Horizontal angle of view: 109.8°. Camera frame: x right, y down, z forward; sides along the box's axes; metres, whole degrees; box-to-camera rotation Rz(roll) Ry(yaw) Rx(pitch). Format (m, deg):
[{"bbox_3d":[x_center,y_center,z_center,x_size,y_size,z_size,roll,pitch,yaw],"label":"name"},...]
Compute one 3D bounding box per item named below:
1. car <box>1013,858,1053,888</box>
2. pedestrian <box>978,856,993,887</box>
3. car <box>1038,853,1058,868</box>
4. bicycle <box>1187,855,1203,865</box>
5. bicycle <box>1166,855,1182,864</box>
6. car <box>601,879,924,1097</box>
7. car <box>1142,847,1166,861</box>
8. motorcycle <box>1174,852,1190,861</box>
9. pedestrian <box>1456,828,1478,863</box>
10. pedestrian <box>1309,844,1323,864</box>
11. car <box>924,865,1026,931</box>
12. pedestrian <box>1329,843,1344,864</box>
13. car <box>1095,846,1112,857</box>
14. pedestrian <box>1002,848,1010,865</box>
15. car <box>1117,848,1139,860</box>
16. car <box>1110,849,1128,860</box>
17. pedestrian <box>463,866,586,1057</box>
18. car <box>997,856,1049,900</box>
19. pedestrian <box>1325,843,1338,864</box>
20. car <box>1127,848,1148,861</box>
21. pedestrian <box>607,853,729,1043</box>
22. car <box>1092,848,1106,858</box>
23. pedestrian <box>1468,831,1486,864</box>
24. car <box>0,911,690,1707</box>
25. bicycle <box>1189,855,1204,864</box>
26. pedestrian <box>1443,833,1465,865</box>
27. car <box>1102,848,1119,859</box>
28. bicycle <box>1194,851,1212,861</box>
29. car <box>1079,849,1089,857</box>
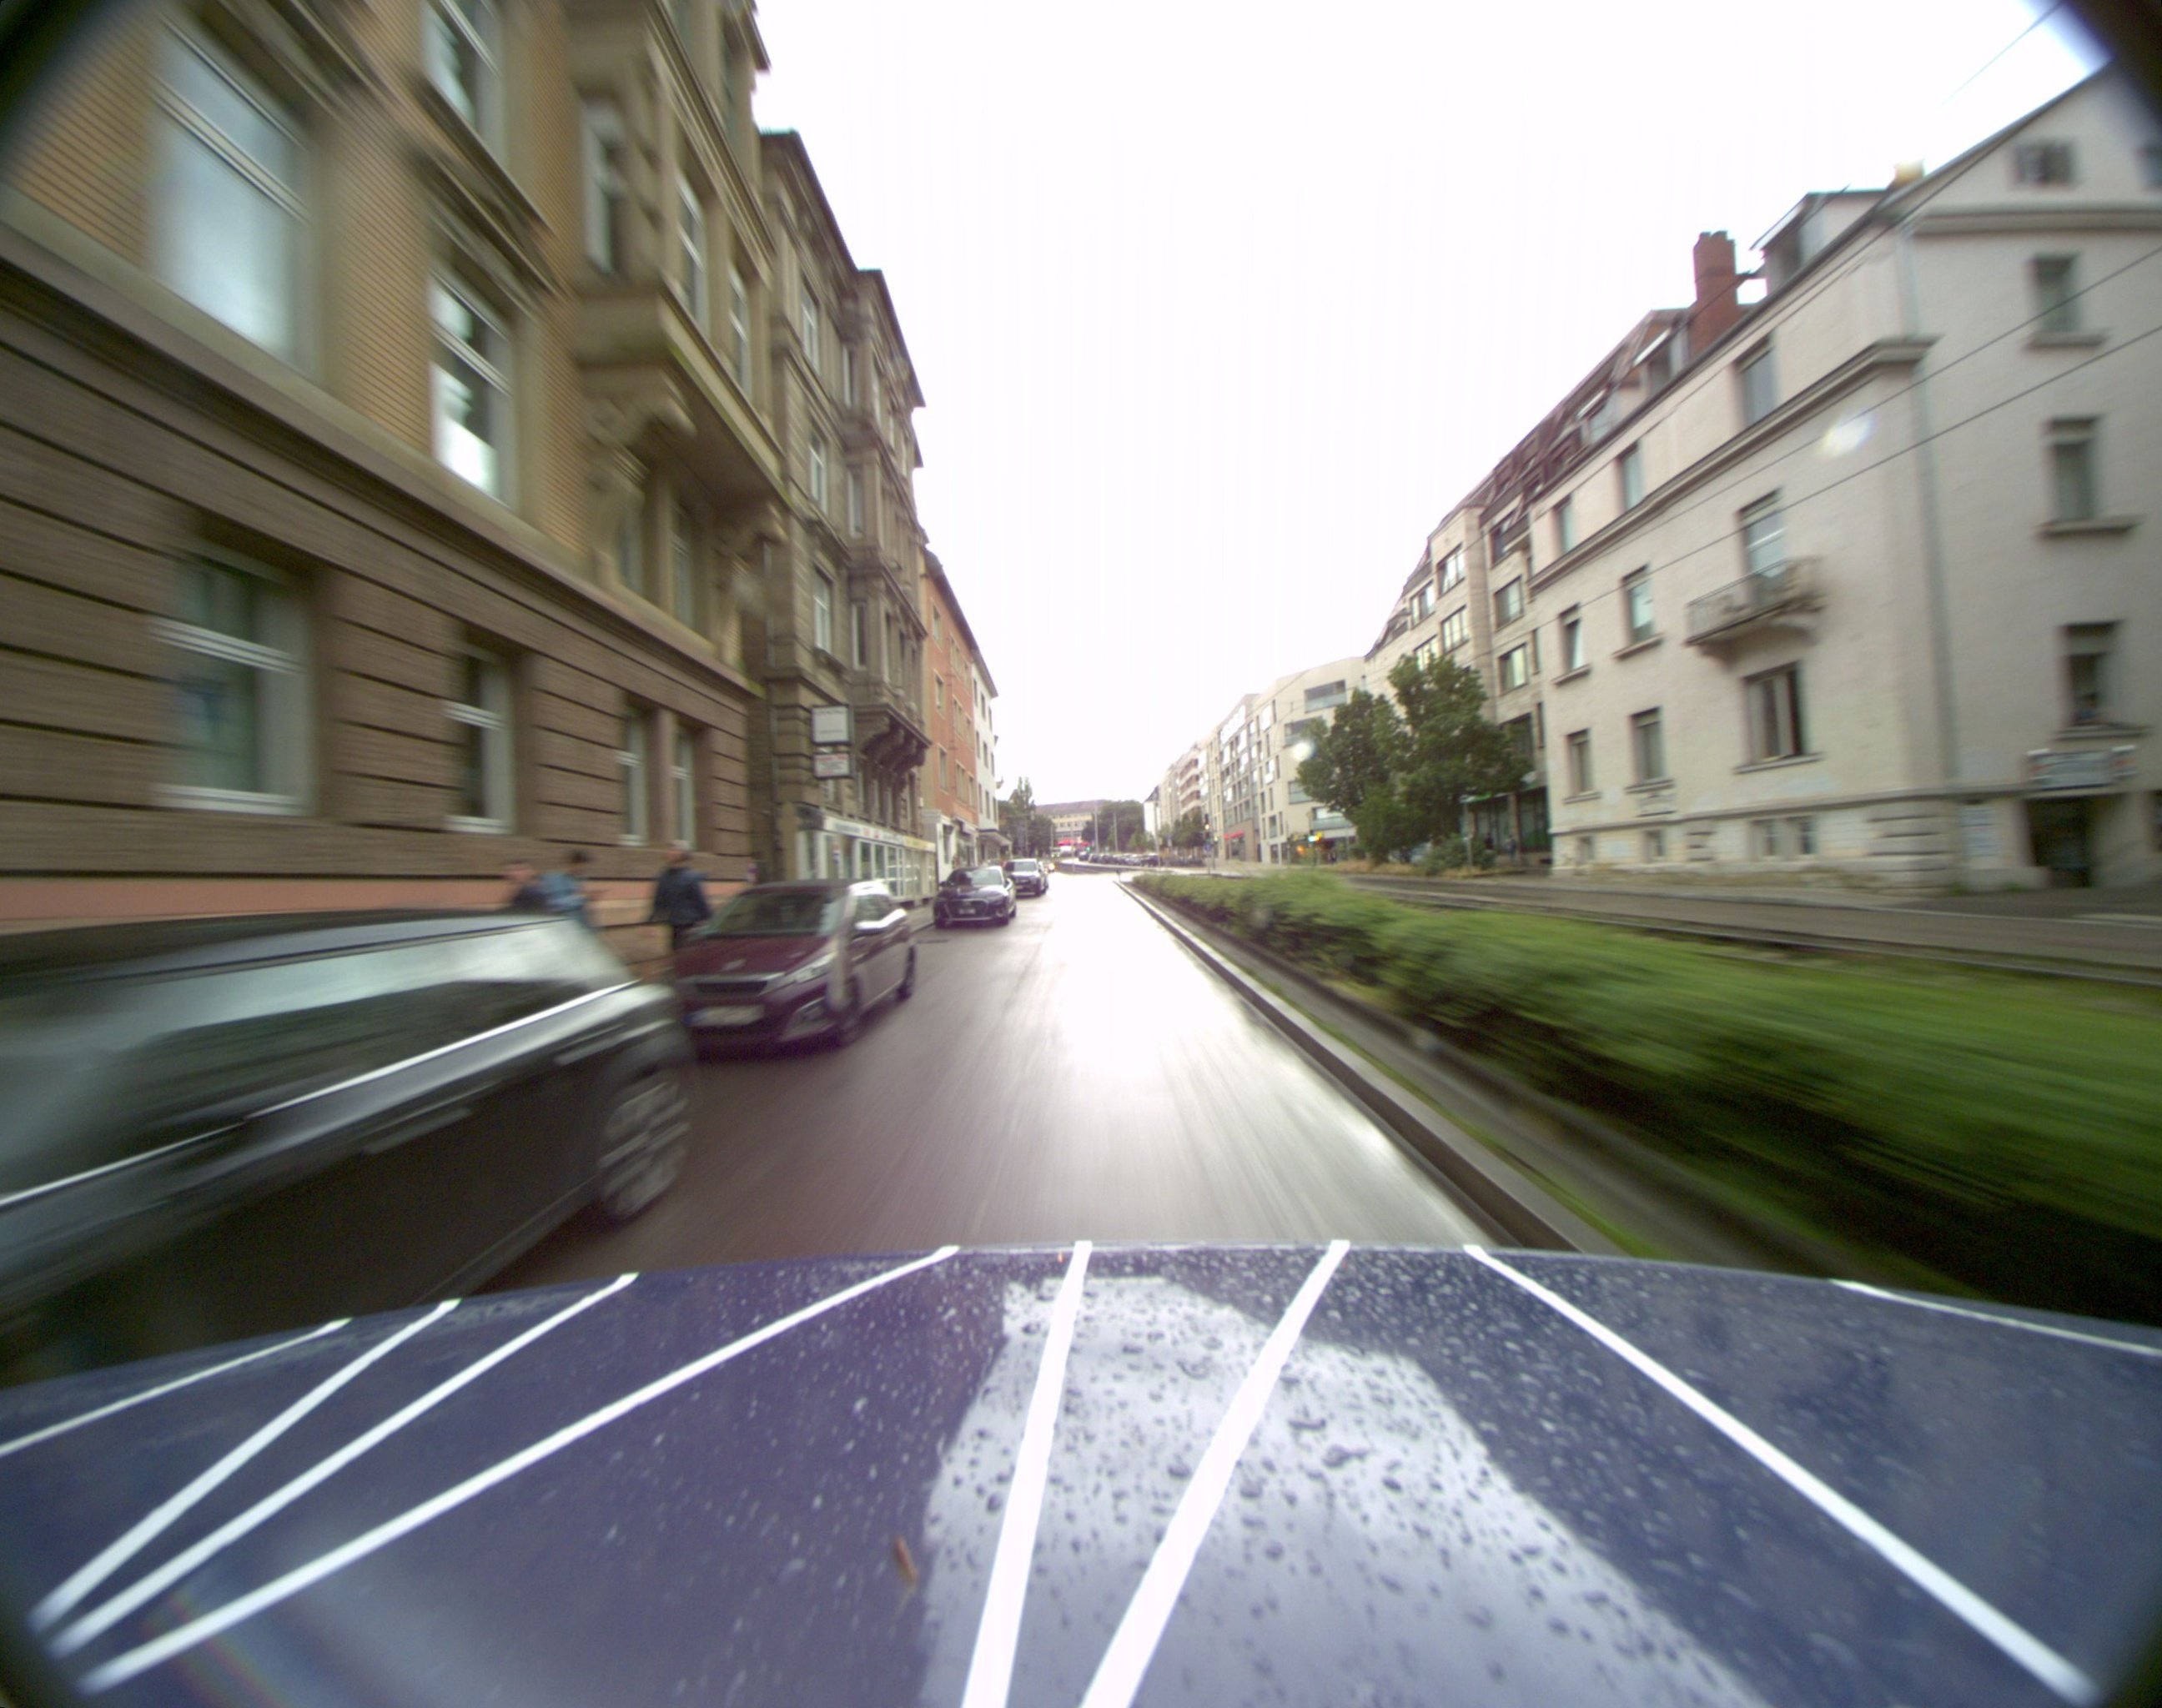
[{"bbox_3d":[-2.529,0.978,41.087,1.806,1.447,4.586,-2,0,1],"label":"car"},{"bbox_3d":[-4.941,0.904,39.205,0.690,1.562,0.762,-1,-1,-11],"label":"pedestrian"},{"bbox_3d":[-3.703,0.755,84.882,1.595,1.456,3.666,-6,2,-11],"label":"car"},{"bbox_3d":[12.685,0.666,84.535,1.789,0.871,0.387,-4,2,-12],"label":"bicycle"},{"bbox_3d":[10.942,0.626,88.960,1.790,0.912,0.387,-3,2,-14],"label":"bicycle"},{"bbox_3d":[-2.794,1.088,7.559,1.653,1.451,3.476,-3,1,0],"label":"car"},{"bbox_3d":[9.096,0.022,94.596,1.685,1.595,4.324,-5,2,-11],"label":"car"},{"bbox_3d":[12.300,0.340,92.367,1.765,1.037,0.542,-3,3,-14],"label":"motorcycle"},{"bbox_3d":[19.623,-0.415,38.595,0.649,1.715,0.683,-5,2,-2],"label":"pedestrian"},{"bbox_3d":[21.453,-0.030,69.368,0.933,1.819,0.958,-2,2,-8],"label":"pedestrian"},{"bbox_3d":[-2.578,1.042,19.528,1.796,1.398,4.258,-2,0,2],"label":"car"},{"bbox_3d":[19.630,-0.017,58.447,0.649,1.560,0.775,-7,3,-37],"label":"pedestrian"},{"bbox_3d":[3.548,-0.390,120.019,1.685,1.496,3.924,-5,2,-11],"label":"car"},{"bbox_3d":[-7.776,0.264,78.319,0.749,1.754,0.817,0,1,-11],"label":"pedestrian"},{"bbox_3d":[6.574,-0.063,106.275,1.686,1.521,4.044,-5,2,-15],"label":"car"},{"bbox_3d":[5.476,0.060,110.570,1.685,1.373,4.028,-4,2,-11],"label":"car"},{"bbox_3d":[-4.881,0.909,6.703,0.521,1.570,0.677,0,2,0],"label":"pedestrian"},{"bbox_3d":[-2.503,0.987,33.851,1.850,1.623,4.585,-3,1,1],"label":"car"},{"bbox_3d":[21.180,-0.043,64.279,0.706,1.701,0.584,-5,2,-24],"label":"pedestrian"},{"bbox_3d":[7.504,0.050,101.270,1.685,1.456,4.324,-5,2,-11],"label":"car"},{"bbox_3d":[-4.170,0.902,7.734,0.705,1.808,0.961,0,-1,0],"label":"pedestrian"},{"bbox_3d":[2.865,-0.221,124.808,1.685,1.496,4.402,-4,2,-6],"label":"car"},{"bbox_3d":[19.706,-0.310,37.817,0.505,1.589,0.585,-5,2,-2],"label":"pedestrian"},{"bbox_3d":[-2.704,1.050,1.777,1.581,1.451,3.820,-3,1,-1],"label":"car"},{"bbox_3d":[13.006,0.627,85.492,1.791,0.912,0.386,-5,2,-30],"label":"bicycle"},{"bbox_3d":[18.932,-0.260,38.576,0.649,1.540,0.683,-5,2,-2],"label":"pedestrian"},{"bbox_3d":[4.476,-0.085,115.730,1.685,1.555,3.924,-5,2,-11],"label":"car"},{"bbox_3d":[13.373,0.179,83.392,1.790,0.975,0.440,-5,2,-14],"label":"bicycle"},{"bbox_3d":[0.559,-0.211,149.800,1.655,1.456,3.668,-5,2,-2],"label":"car"}]
